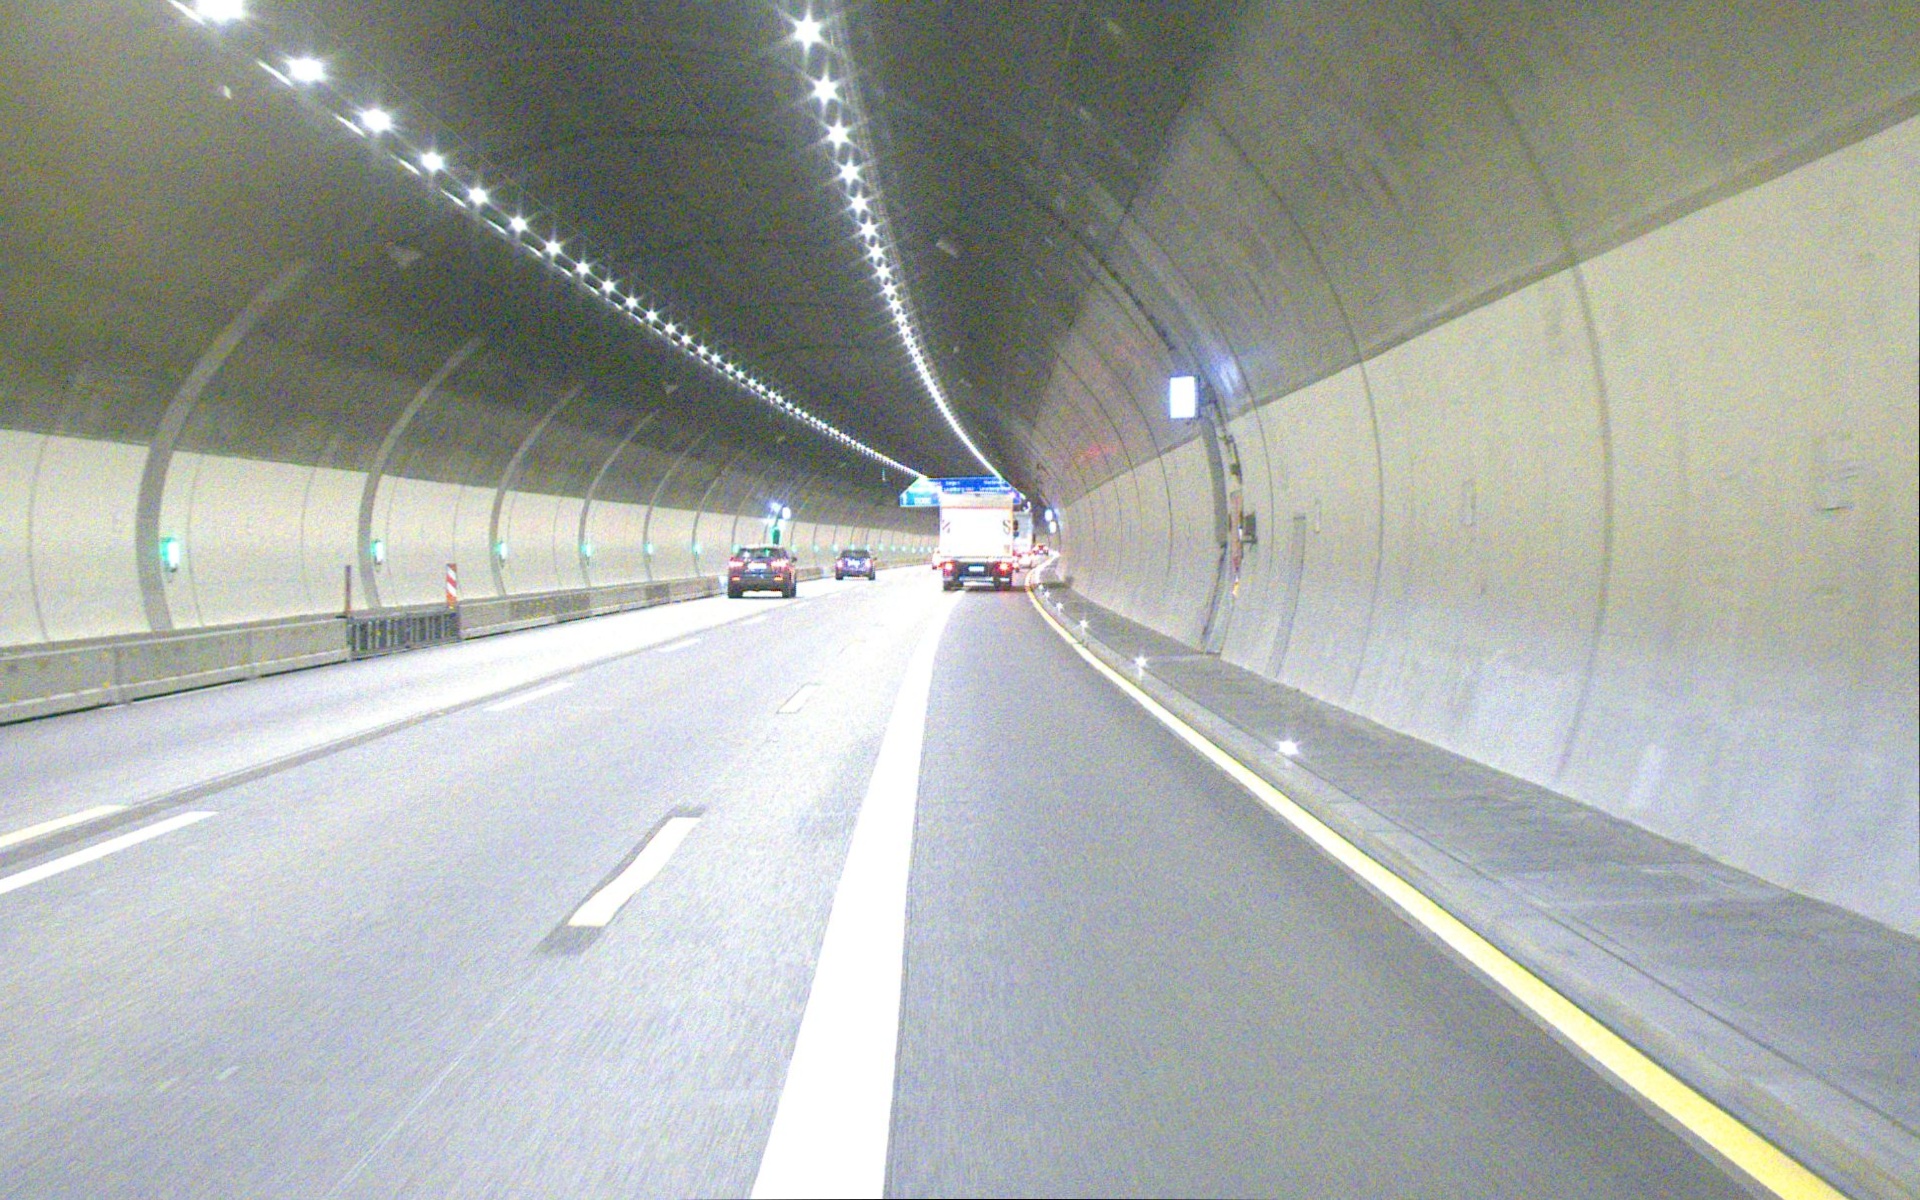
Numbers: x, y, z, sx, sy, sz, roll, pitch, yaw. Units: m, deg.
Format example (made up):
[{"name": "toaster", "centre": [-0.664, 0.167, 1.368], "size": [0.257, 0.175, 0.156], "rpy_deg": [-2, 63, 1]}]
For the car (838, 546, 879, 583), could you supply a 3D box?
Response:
[{"name": "car", "centre": [-4.630, -1.612, 156.304], "size": [1.812, 1.514, 4.001], "rpy_deg": [1, 2, -2]}]

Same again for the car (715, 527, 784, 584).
[{"name": "car", "centre": [-6.148, -1.319, 100.645], "size": [1.812, 1.612, 4.000], "rpy_deg": [1, 1, -1]}]

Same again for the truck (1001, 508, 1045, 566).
[{"name": "truck", "centre": [4.515, -4.560, 248.496], "size": [2.922, 4.034, 14.030], "rpy_deg": [-1, 1, 0]}]

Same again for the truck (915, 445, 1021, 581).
[{"name": "truck", "centre": [0.163, -3.126, 126.868], "size": [3.278, 4.634, 17.288], "rpy_deg": [-1, 1, -2]}]
